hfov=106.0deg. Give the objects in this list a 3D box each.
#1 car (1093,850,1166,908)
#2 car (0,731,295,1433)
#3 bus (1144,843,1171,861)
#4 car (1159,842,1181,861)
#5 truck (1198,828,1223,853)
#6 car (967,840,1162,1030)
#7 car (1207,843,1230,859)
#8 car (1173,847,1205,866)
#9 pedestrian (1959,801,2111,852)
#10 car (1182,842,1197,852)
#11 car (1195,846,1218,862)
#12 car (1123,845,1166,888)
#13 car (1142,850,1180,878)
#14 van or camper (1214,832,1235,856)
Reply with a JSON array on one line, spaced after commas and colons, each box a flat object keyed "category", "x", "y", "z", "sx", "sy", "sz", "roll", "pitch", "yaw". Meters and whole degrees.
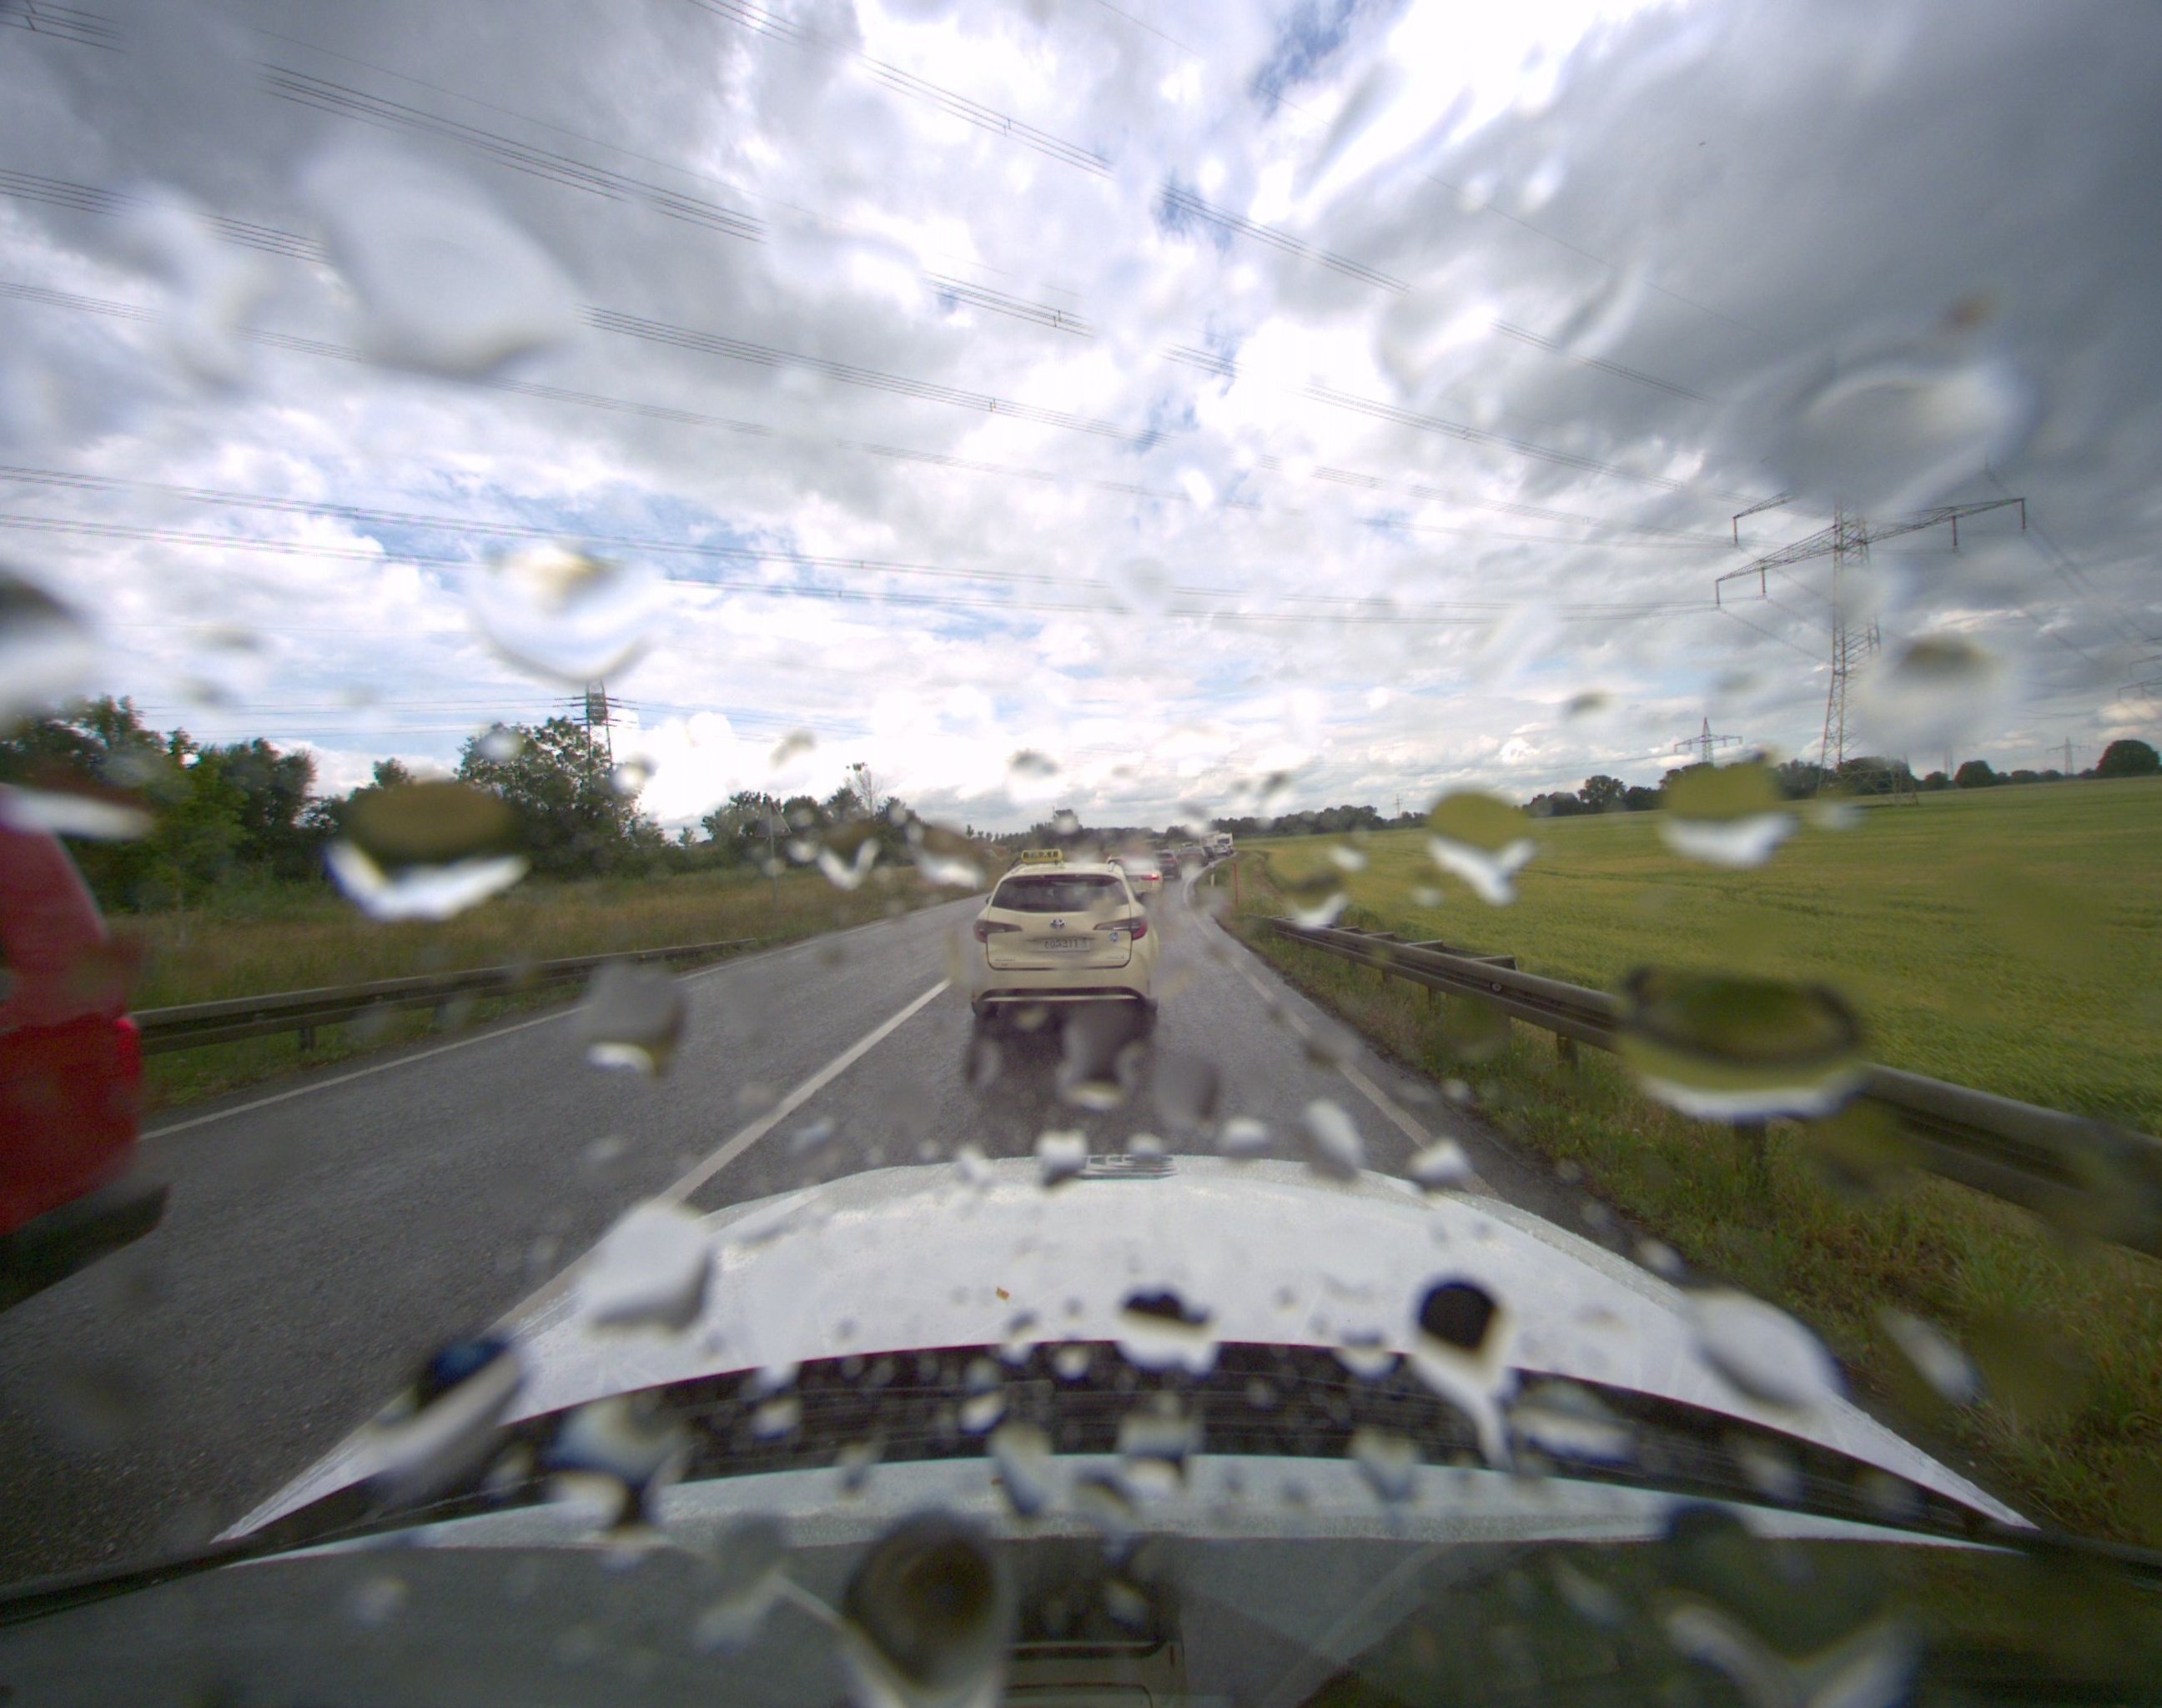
[{"category": "car", "x": 1.523, "y": 0.661, "z": 23.864, "sx": 1.831, "sy": 1.492, "sz": 4.617, "roll": -1, "pitch": 0, "yaw": 7}, {"category": "car", "x": -3.787, "y": 0.607, "z": 0.680, "sx": 1.795, "sy": 1.850, "sz": 4.520, "roll": -2, "pitch": -1, "yaw": 1}, {"category": "bus", "x": 14.677, "y": -0.482, "z": 157.280, "sx": 2.754, "sy": 3.297, "sz": 12.478, "roll": -1, "pitch": 0, "yaw": -5}, {"category": "car", "x": 9.267, "y": -0.222, "z": 84.554, "sx": 1.895, "sy": 1.948, "sz": 4.153, "roll": -1, "pitch": -1, "yaw": 10}, {"category": "truck", "x": 20.864, "y": -2.168, "z": 131.774, "sx": 3.114, "sy": 3.852, "sz": 7.391, "roll": -1, "pitch": -1, "yaw": 3}, {"category": "car", "x": -0.137, "y": 0.695, "z": 8.677, "sx": 1.608, "sy": 1.562, "sz": 3.737, "roll": -1, "pitch": -1, "yaw": 0}, {"category": "car", "x": 15.074, "y": -0.332, "z": 89.147, "sx": 1.944, "sy": 1.729, "sz": 3.755, "roll": -1, "pitch": -1, "yaw": 17}, {"category": "car", "x": 8.398, "y": 0.214, "z": 63.186, "sx": 1.946, "sy": 1.413, "sz": 4.408, "roll": -1, "pitch": -1, "yaw": 14}, {"category": "pedestrian", "x": 42.002, "y": -1.157, "z": 36.018, "sx": 1.988, "sy": 2.014, "sz": 3.998, "roll": -1, "pitch": -1, "yaw": -1}, {"category": "car", "x": 20.054, "y": -1.240, "z": 150.889, "sx": 1.881, "sy": 1.773, "sz": 4.149, "roll": -1, "pitch": -1, "yaw": -7}, {"category": "car", "x": 12.139, "y": 0.019, "z": 78.603, "sx": 1.813, "sy": 1.413, "sz": 3.752, "roll": -1, "pitch": -1, "yaw": 13}, {"category": "car", "x": 2.649, "y": 0.503, "z": 33.372, "sx": 1.604, "sy": 1.659, "sz": 3.745, "roll": -1, "pitch": -1, "yaw": 6}, {"category": "car", "x": 4.253, "y": 0.532, "z": 42.734, "sx": 1.602, "sy": 1.413, "sz": 3.750, "roll": -1, "pitch": -1, "yaw": 11}, {"category": "van or camper", "x": 18.356, "y": -1.301, "z": 103.965, "sx": 2.520, "sy": 2.896, "sz": 6.763, "roll": -1, "pitch": 0, "yaw": 11}]
